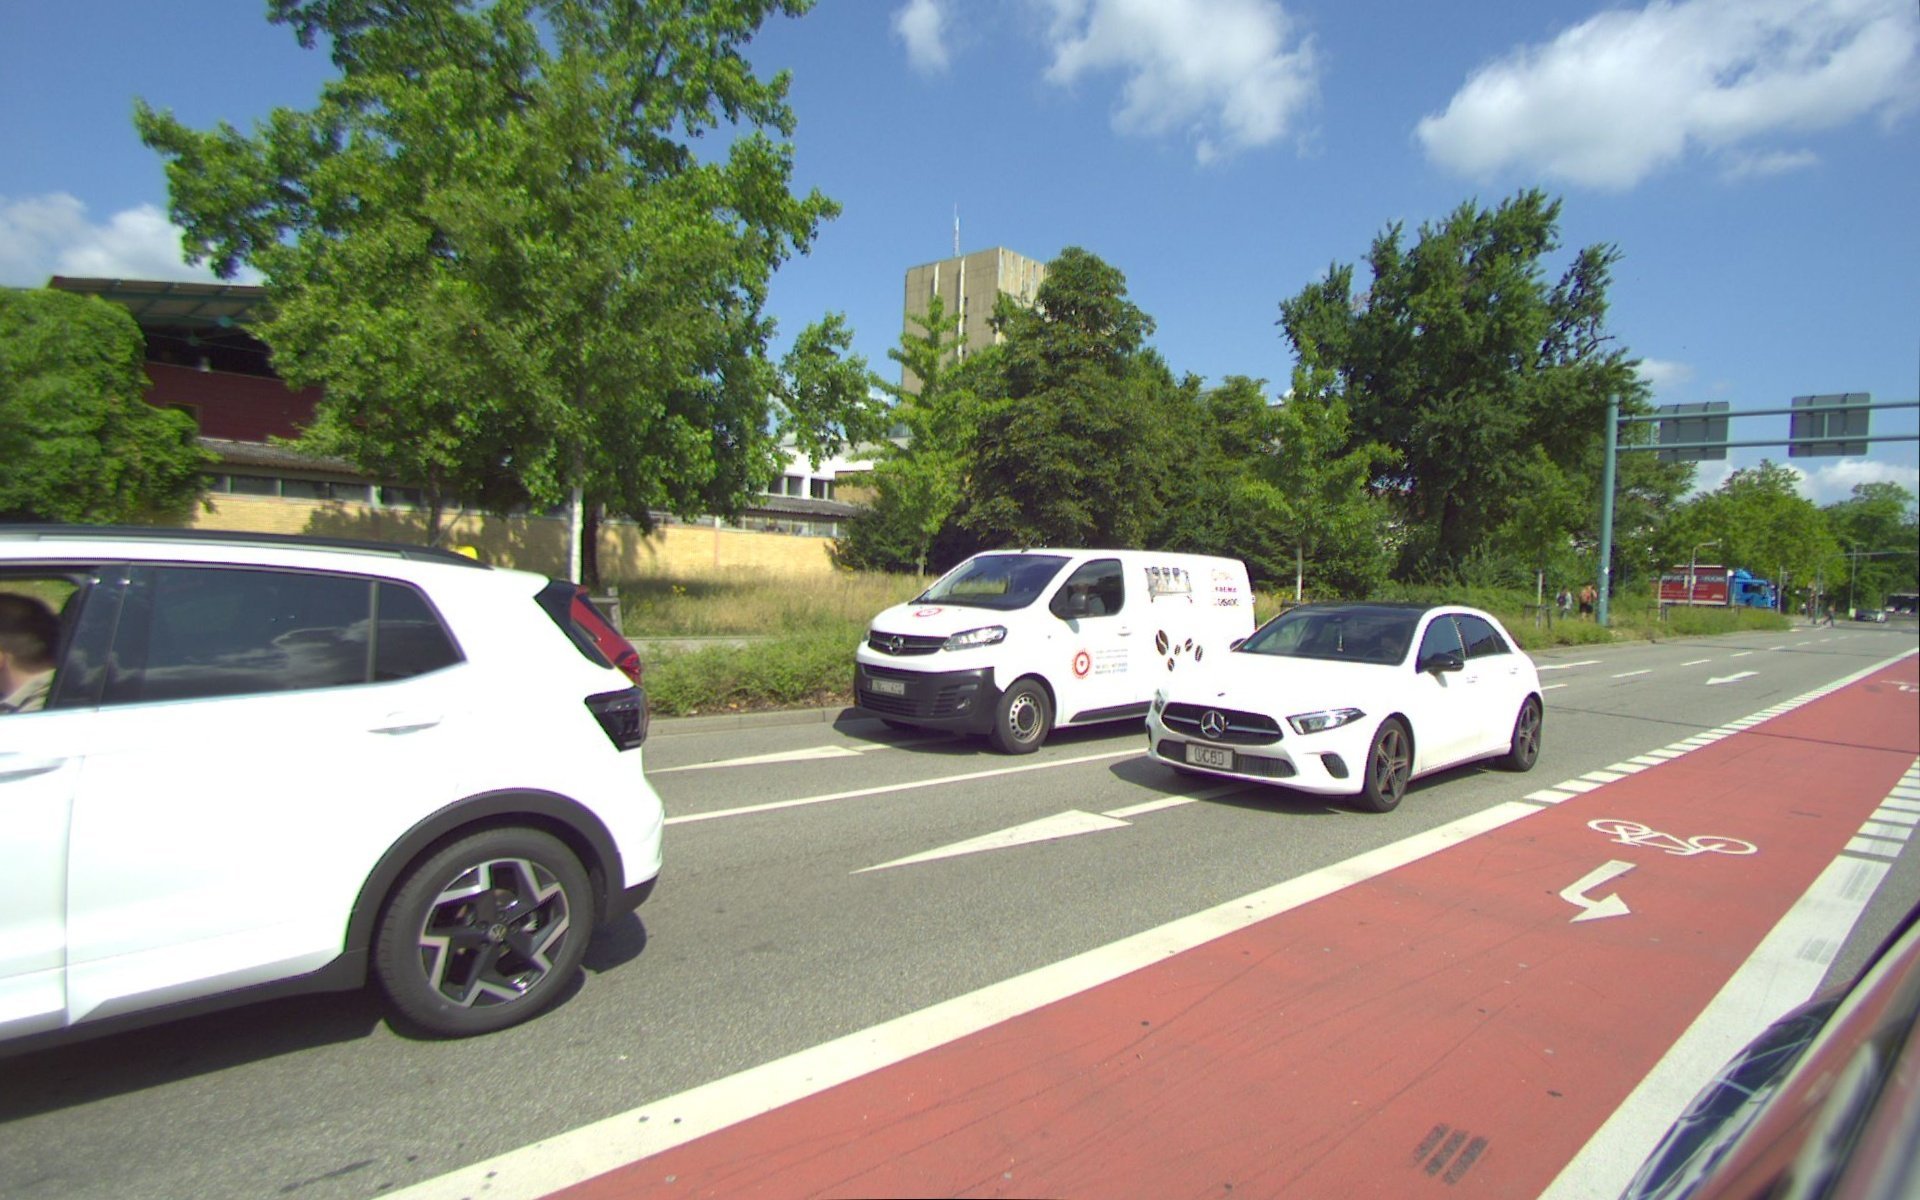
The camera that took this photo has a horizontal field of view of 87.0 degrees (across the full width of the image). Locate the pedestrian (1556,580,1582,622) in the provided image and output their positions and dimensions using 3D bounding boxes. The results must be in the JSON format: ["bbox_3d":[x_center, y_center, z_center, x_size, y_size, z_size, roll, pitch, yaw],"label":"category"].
[{"bbox_3d":[23.352,0.041,38.822,0.696,1.600,0.624,1,2,-43],"label":"pedestrian"}]

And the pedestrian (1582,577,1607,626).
[{"bbox_3d":[23.998,0.047,38.280,0.628,1.824,0.568,1,2,-43],"label":"pedestrian"}]

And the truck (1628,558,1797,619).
[{"bbox_3d":[52.433,-0.888,70.766,9.163,3.846,2.624,4,2,44],"label":"truck"}]

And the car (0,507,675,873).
[{"bbox_3d":[-4.107,0.384,5.945,4.387,1.661,1.683,1,2,-43],"label":"car"}]

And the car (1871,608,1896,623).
[{"bbox_3d":[98.061,1.642,107.514,1.703,1.345,3.941,7,4,41],"label":"car"}]

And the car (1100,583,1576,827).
[{"bbox_3d":[3.312,0.657,8.413,4.309,1.441,1.907,1,2,-42],"label":"car"}]

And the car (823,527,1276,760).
[{"bbox_3d":[1.119,0.328,10.522,4.742,1.893,1.946,1,2,-42],"label":"car"}]

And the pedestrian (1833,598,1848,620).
[{"bbox_3d":[69.802,0.737,80.210,0.627,1.670,0.742,1,1,-38],"label":"pedestrian"}]

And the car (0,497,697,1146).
[{"bbox_3d":[-3.010,0.513,2.997,3.942,1.559,1.793,1,1,-42],"label":"car"}]
